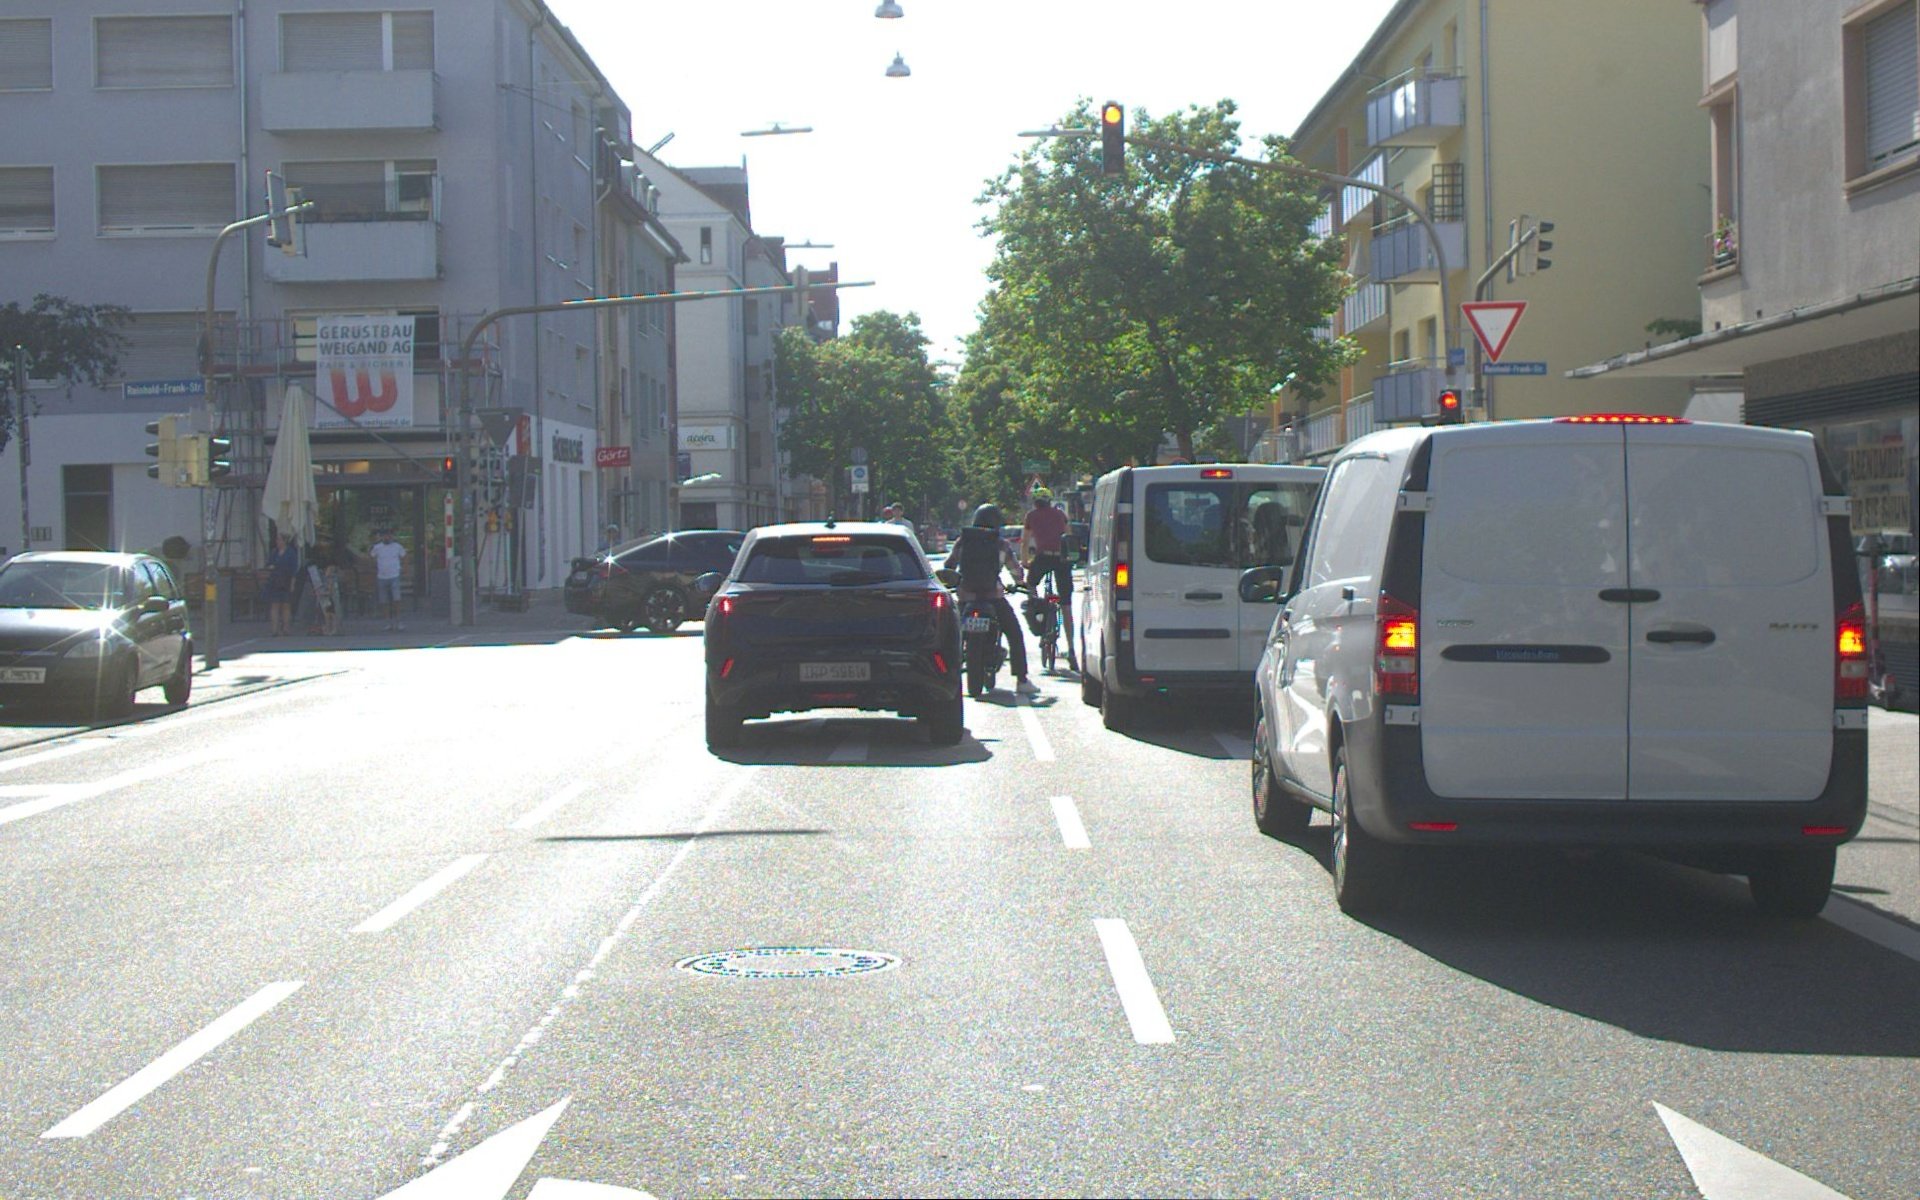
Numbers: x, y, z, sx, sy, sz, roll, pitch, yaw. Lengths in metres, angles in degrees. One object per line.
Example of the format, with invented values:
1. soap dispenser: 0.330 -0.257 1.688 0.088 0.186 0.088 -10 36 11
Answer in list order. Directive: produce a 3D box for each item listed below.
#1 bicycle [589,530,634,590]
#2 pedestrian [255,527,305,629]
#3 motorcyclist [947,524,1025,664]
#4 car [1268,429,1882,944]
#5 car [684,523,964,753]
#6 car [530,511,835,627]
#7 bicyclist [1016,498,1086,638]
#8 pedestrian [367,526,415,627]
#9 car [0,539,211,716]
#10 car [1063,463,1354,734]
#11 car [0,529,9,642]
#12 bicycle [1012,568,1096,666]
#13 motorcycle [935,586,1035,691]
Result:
1. bicycle: -6.328 -0.733 62.428 0.564 1.081 1.103 0 1 7
2. pedestrian: -11.084 -0.364 56.043 0.683 1.658 0.601 -1 1 -1
3. motorcyclist: 0.229 -0.062 30.545 0.658 1.223 0.694 0 1 -1
4. car: 2.377 0.267 14.442 1.985 1.816 4.546 0 1 3
5. car: -0.952 0.217 24.790 1.844 1.502 4.000 -1 1 -1
6. car: -4.033 -0.472 49.951 3.986 1.634 2.000 -1 1 -23
7. bicyclist: 0.948 -0.339 35.967 0.683 1.444 0.940 0 1 -1
8. pedestrian: -9.431 -0.395 56.999 0.683 1.658 0.601 -1 1 -1
9. car: -8.016 0.198 31.150 1.653 1.474 4.000 1 1 -1
10. car: 1.845 -0.054 26.872 1.815 1.914 4.645 -1 1 -1
11. car: -15.682 -0.182 48.751 3.986 1.620 1.544 -1 1 -3
12. bicycle: 0.978 0.165 36.130 0.775 0.989 1.717 -1 1 -1
13. motorcycle: 0.209 0.333 30.632 0.807 0.860 1.823 2 1 -1
